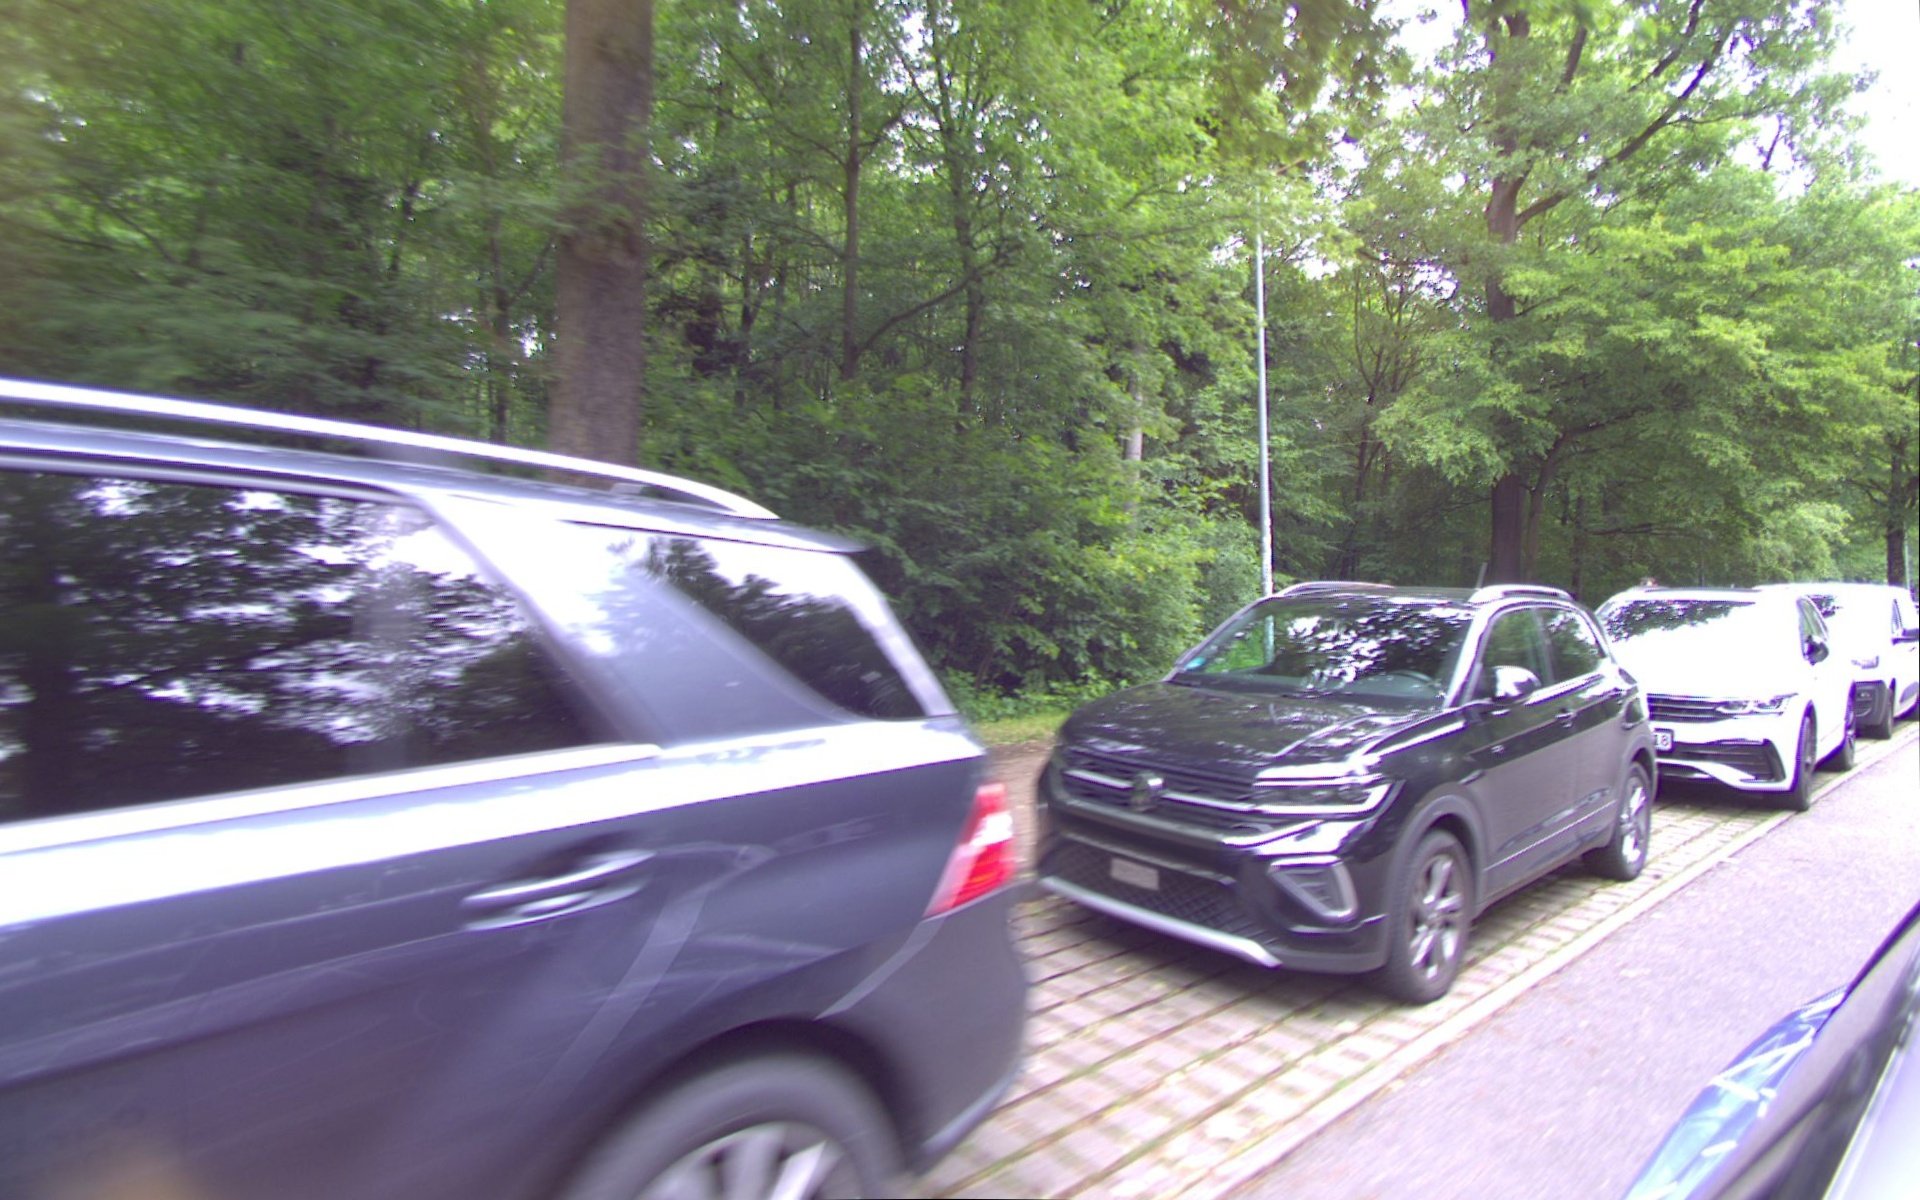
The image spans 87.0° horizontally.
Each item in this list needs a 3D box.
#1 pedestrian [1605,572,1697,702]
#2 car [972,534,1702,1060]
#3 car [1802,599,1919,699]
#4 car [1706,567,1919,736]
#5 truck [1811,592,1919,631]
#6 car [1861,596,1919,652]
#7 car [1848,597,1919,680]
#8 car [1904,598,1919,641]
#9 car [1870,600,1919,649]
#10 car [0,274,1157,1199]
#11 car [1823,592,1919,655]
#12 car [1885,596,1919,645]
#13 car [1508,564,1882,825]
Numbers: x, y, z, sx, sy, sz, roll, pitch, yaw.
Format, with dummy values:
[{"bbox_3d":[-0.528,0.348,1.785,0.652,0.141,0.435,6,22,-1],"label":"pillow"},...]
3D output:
[{"bbox_3d":[9.753,0.499,14.279,0.986,1.748,0.819,0,-1,-40],"label":"pedestrian"},{"bbox_3d":[2.252,0.616,5.264,4.370,1.628,1.753,0,0,-42],"label":"car"},{"bbox_3d":[15.156,0.718,16.284,4.207,1.441,1.729,0,0,-40],"label":"car"},{"bbox_3d":[11.142,0.555,12.934,4.474,1.803,1.746,0,0,-42],"label":"car"},{"bbox_3d":[86.444,1.048,96.083,2.809,3.559,8.260,2,-1,-26],"label":"truck"},{"bbox_3d":[28.404,0.689,28.790,1.942,1.571,3.992,1,0,-42],"label":"car"},{"bbox_3d":[19.318,0.713,19.940,4.882,1.498,1.998,0,0,-40],"label":"car"},{"bbox_3d":[34.108,0.681,33.537,1.774,1.475,3.840,0,1,-35],"label":"car"},{"bbox_3d":[30.344,0.740,30.531,1.915,1.494,3.999,0,0,-36],"label":"car"},{"bbox_3d":[-1.977,0.552,1.371,4.863,1.769,1.892,0,0,-42],"label":"car"},{"bbox_3d":[26.334,0.628,27.338,1.922,1.687,4.277,1,0,-37],"label":"car"},{"bbox_3d":[32.340,0.698,32.335,1.816,1.550,3.839,0,1,-36],"label":"car"},{"bbox_3d":[6.557,0.620,8.794,4.638,1.683,1.787,0,0,-43],"label":"car"}]
